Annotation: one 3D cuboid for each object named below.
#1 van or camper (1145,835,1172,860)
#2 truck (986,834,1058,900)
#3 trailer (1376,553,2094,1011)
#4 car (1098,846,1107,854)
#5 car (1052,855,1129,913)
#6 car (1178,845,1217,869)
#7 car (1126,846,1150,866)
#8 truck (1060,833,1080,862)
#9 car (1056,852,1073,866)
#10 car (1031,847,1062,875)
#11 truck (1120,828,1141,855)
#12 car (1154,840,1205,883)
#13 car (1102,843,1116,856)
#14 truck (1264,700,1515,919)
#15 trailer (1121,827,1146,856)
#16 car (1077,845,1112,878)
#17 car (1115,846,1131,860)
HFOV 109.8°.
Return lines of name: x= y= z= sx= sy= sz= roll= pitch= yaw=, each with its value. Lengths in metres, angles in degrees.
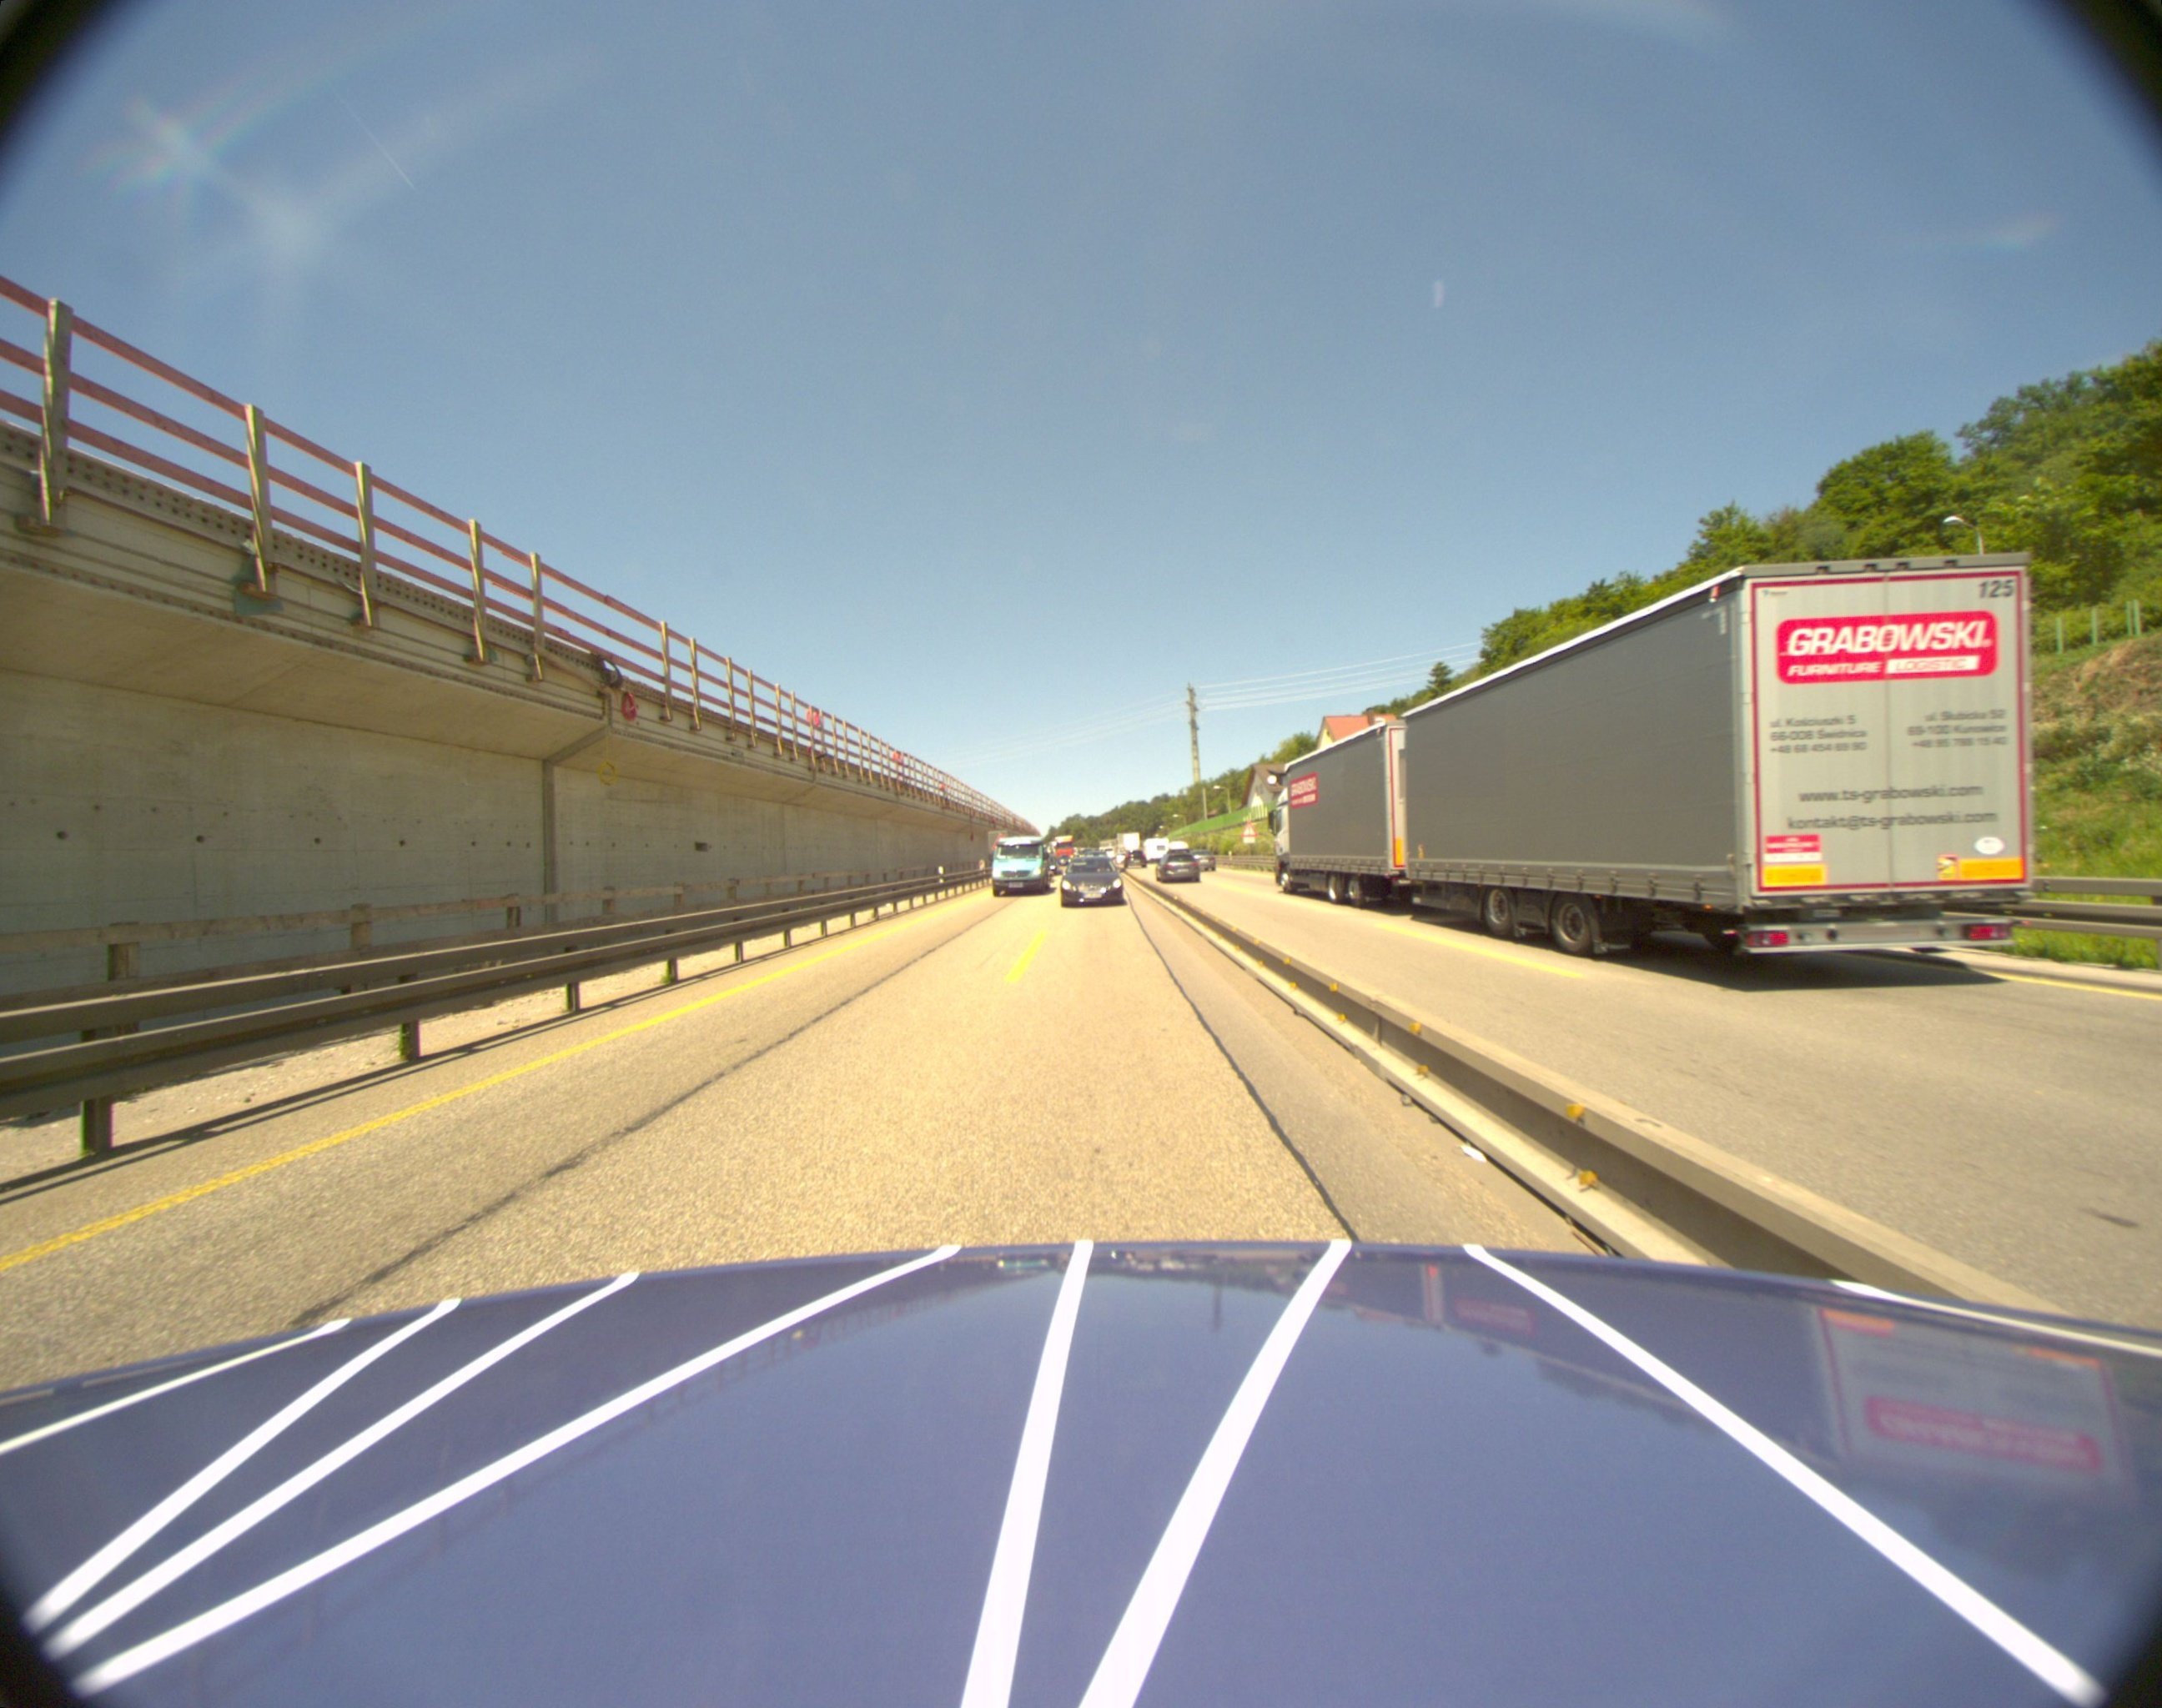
van or camper: x=8.530 y=-0.737 z=84.446 sx=2.356 sy=2.619 sz=6.901 roll=-2 pitch=1 yaw=1
truck: x=-2.292 y=0.419 z=31.754 sx=2.139 sy=2.344 sz=7.432 roll=-2 pitch=1 yaw=2
trailer: x=7.546 y=-0.664 z=11.137 sx=2.936 sy=3.965 sz=8.705 roll=-2 pitch=0 yaw=0
car: x=5.090 y=-0.961 z=180.493 sx=1.884 sy=1.805 sz=4.000 roll=-2 pitch=1 yaw=3
car: x=0.313 y=0.813 z=22.732 sx=1.998 sy=1.440 sz=4.601 roll=-2 pitch=0 yaw=2
car: x=7.997 y=0.182 z=52.614 sx=1.998 sy=1.499 sz=5.300 roll=-2 pitch=1 yaw=2
car: x=4.970 y=0.127 z=67.111 sx=1.875 sy=1.674 sz=4.000 roll=-2 pitch=0 yaw=2
truck: x=-1.628 y=-1.081 z=118.042 sx=2.750 sy=4.222 sz=9.093 roll=-2 pitch=1 yaw=1
car: x=-1.992 y=0.642 z=93.854 sx=1.883 sy=1.532 sz=4.281 roll=-2 pitch=1 yaw=1
car: x=-2.391 y=0.456 z=54.034 sx=1.885 sy=1.805 sz=4.250 roll=-2 pitch=1 yaw=1
truck: x=8.607 y=-2.186 z=133.994 sx=3.111 sy=4.369 sz=8.505 roll=-2 pitch=1 yaw=1
car: x=4.662 y=0.335 z=36.557 sx=1.854 sy=1.879 sz=4.501 roll=-2 pitch=0 yaw=1
car: x=4.480 y=-0.660 z=122.127 sx=1.998 sy=2.002 sz=4.166 roll=-2 pitch=1 yaw=2
truck: x=7.545 y=-0.933 z=20.687 sx=2.627 sy=4.371 sz=10.384 roll=-2 pitch=0 yaw=1
trailer: x=8.589 y=-2.044 z=126.639 sx=3.111 sy=4.416 sz=14.626 roll=-2 pitch=1 yaw=1
car: x=0.858 y=0.422 z=45.749 sx=1.884 sy=1.805 sz=4.250 roll=-2 pitch=1 yaw=3
car: x=4.803 y=-0.126 z=87.923 sx=1.671 sy=1.442 sz=3.905 roll=-2 pitch=0 yaw=2
